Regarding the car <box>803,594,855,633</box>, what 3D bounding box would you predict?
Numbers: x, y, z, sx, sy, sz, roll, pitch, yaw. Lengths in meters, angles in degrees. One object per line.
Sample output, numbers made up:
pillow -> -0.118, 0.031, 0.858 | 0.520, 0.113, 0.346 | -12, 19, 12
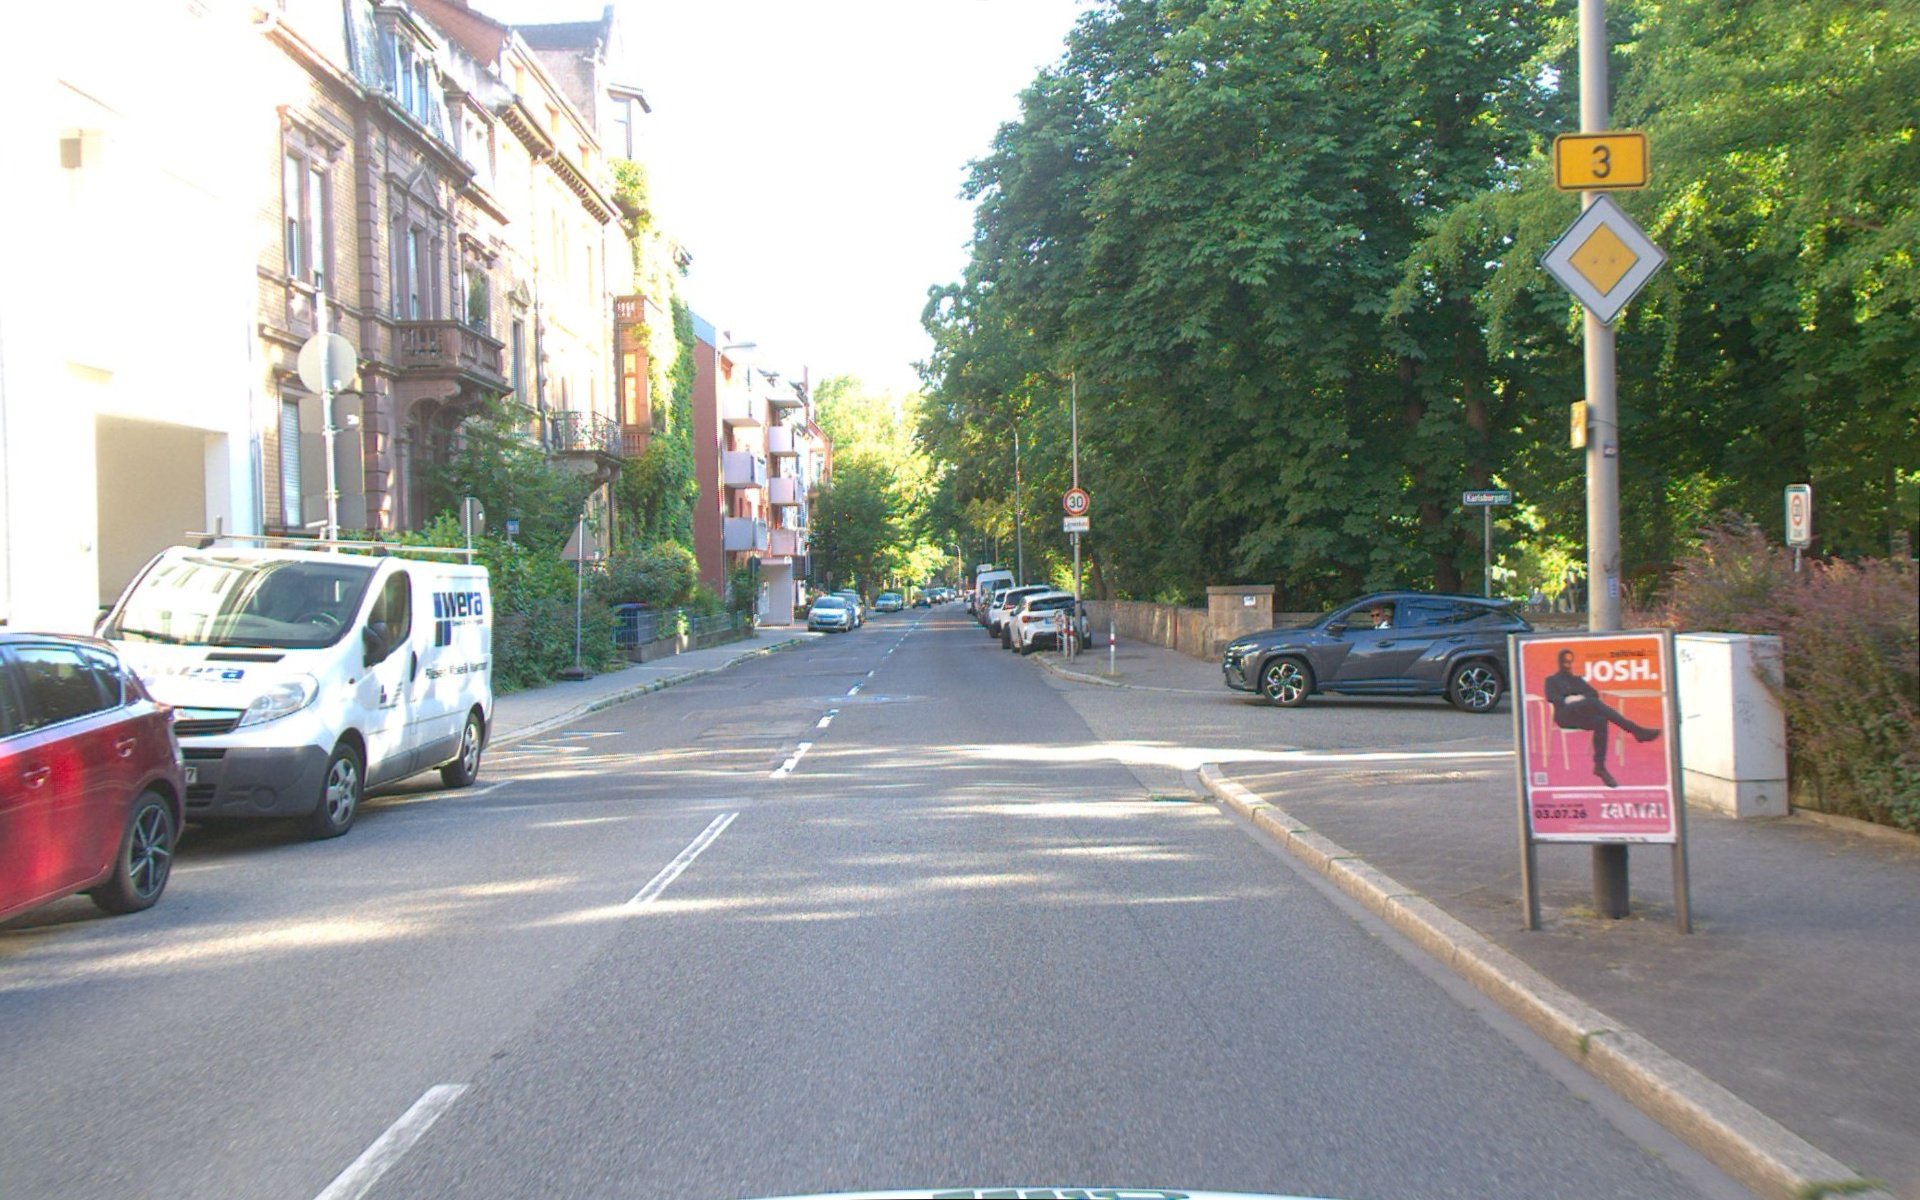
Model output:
car -> -5.841, 0.579, 74.043 | 1.953, 1.517, 4.470 | -2, 1, -1

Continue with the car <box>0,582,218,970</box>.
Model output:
car -> -4.912, 0.748, 7.133 | 1.668, 1.648, 4.116 | 0, 1, -2

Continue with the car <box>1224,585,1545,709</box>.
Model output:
car -> 6.088, 0.640, 24.195 | 4.342, 1.681, 2.002 | 0, 1, 8

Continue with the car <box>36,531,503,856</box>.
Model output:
car -> -5.004, 0.565, 12.793 | 1.756, 2.045, 4.696 | 0, 1, -2

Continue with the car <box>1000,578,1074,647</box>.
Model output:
car -> 2.160, 0.312, 47.497 | 1.952, 1.767, 4.001 | -2, 1, 1

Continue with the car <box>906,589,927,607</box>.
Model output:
car -> -4.150, -0.192, 158.625 | 1.953, 1.517, 4.470 | -2, 1, -1

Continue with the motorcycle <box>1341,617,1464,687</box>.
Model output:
motorcycle -> 7.381, 0.861, 27.648 | 1.866, 1.131, 0.790 | 0, 1, 2

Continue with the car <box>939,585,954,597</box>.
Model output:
car -> -1.869, -1.199, 229.841 | 1.953, 1.517, 4.470 | -2, 1, -1

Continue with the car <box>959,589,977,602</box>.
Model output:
car -> 1.055, -0.555, 209.716 | 1.954, 1.517, 4.467 | -2, 1, -4

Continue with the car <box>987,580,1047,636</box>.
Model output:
car -> 1.966, 0.243, 58.157 | 1.952, 1.767, 4.001 | -2, 1, 1

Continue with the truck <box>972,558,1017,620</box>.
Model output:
truck -> 1.704, -0.579, 83.129 | 1.953, 2.947, 4.470 | -2, 1, -1

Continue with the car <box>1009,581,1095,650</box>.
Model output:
car -> 2.281, 0.360, 41.977 | 1.952, 1.544, 4.001 | -2, 1, 1

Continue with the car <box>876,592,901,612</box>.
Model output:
car -> -6.065, 0.137, 140.967 | 1.953, 1.517, 4.470 | -2, 1, -1

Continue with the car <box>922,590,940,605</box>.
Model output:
car -> -3.287, -0.286, 188.629 | 1.953, 1.517, 4.470 | -2, 1, -1

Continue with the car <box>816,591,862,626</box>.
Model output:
car -> -5.944, 0.402, 81.725 | 1.953, 1.517, 4.470 | -2, 1, -1
